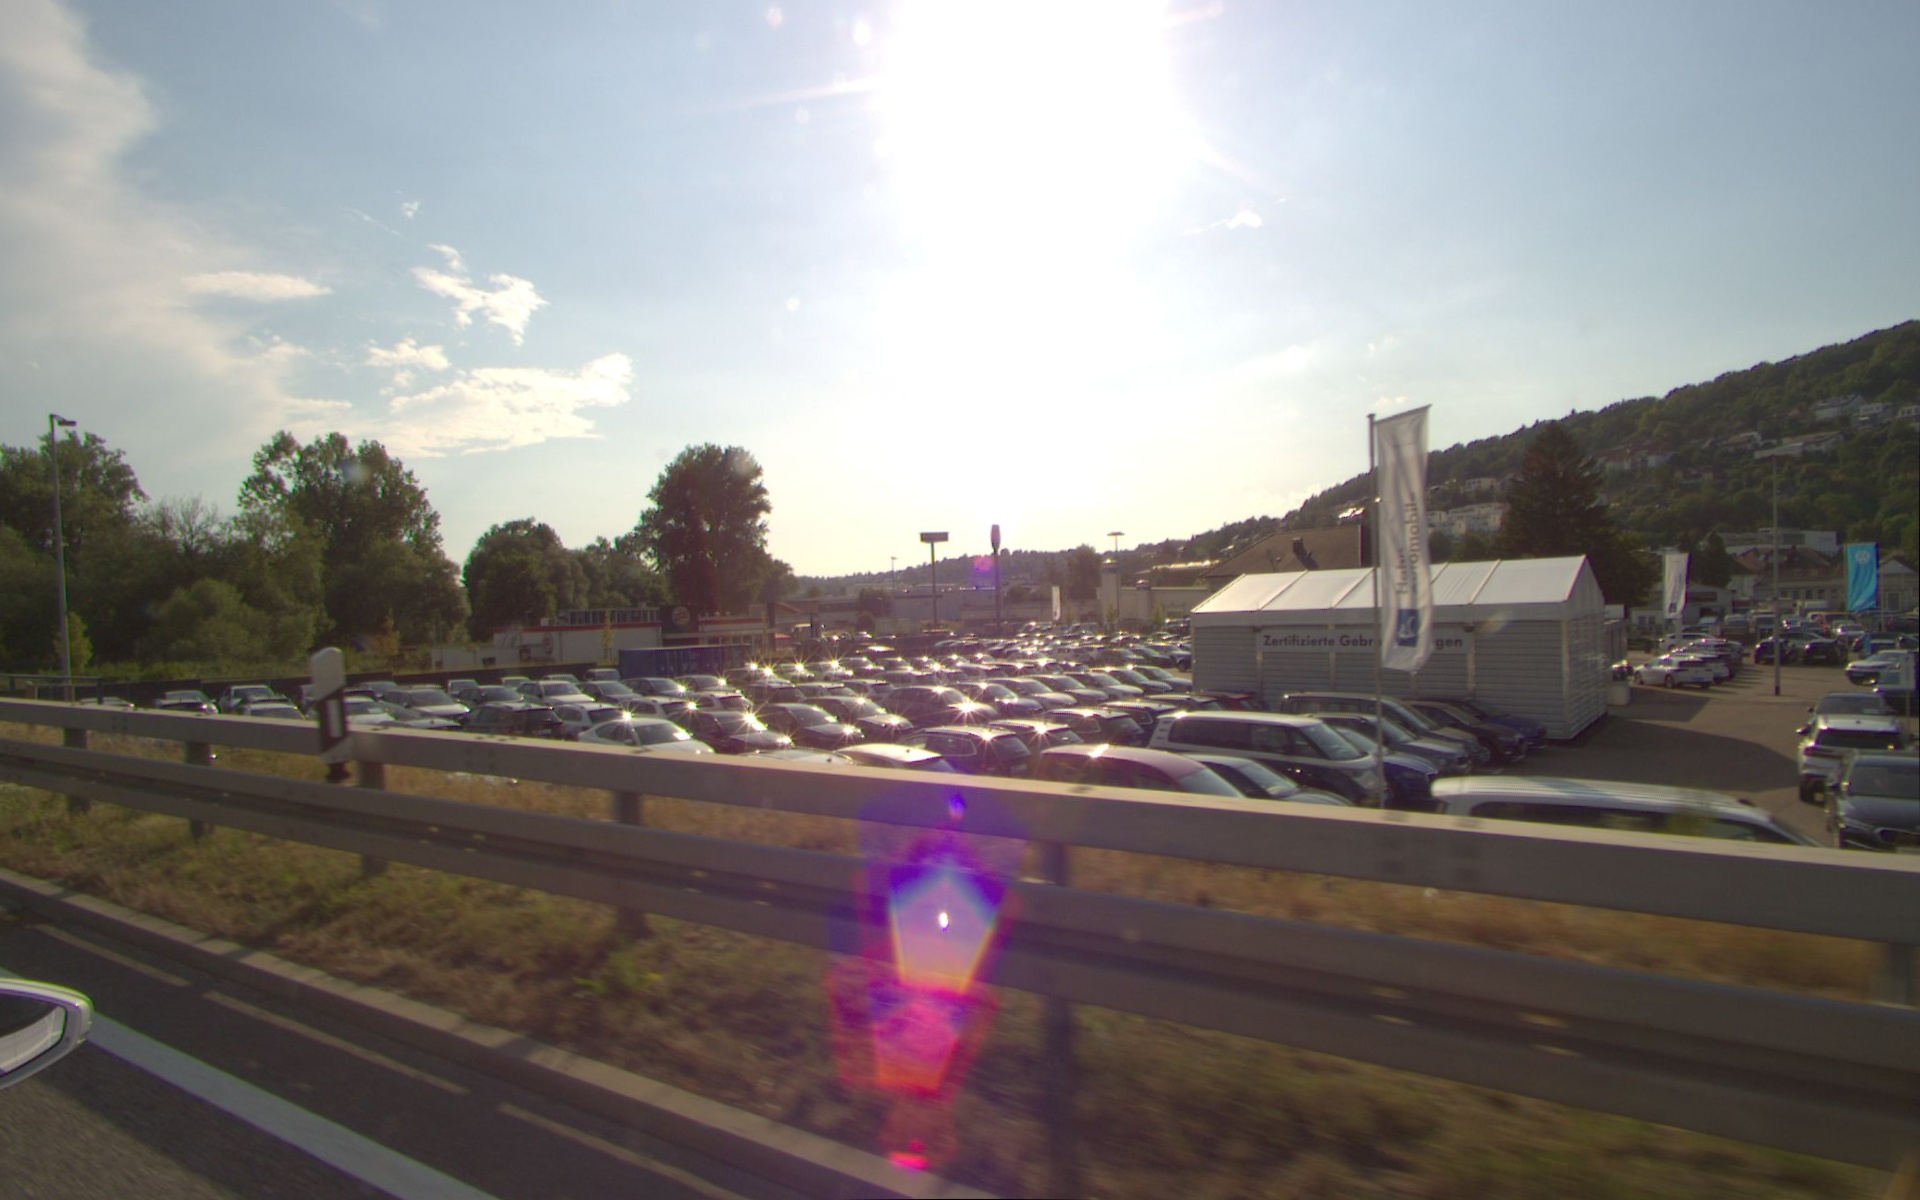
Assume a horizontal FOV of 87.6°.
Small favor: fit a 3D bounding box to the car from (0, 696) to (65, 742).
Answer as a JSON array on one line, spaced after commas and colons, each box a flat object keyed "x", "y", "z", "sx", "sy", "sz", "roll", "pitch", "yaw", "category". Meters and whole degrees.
[{"x": -36.277, "y": 4.552, "z": 38.749, "sx": 3.949, "sy": 1.483, "sz": 1.700, "roll": -2, "pitch": -2, "yaw": 37, "category": "car"}]

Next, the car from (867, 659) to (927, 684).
[{"x": -4.007, "y": 4.496, "z": 63.430, "sx": 1.694, "sy": 1.482, "sz": 3.964, "roll": 1, "pitch": -2, "yaw": -42, "category": "car"}]

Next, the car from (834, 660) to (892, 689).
[{"x": -6.015, "y": 4.562, "z": 61.667, "sx": 1.734, "sy": 1.597, "sz": 3.748, "roll": 1, "pitch": -2, "yaw": -41, "category": "car"}]

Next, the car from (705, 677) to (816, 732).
[{"x": -7.186, "y": 3.705, "z": 35.965, "sx": 3.950, "sy": 1.705, "sz": 1.769, "roll": -2, "pitch": -2, "yaw": 37, "category": "car"}]

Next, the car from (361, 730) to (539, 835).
[{"x": -10.661, "y": 3.718, "z": 20.878, "sx": 3.782, "sy": 1.700, "sz": 1.609, "roll": -2, "pitch": -2, "yaw": 32, "category": "car"}]

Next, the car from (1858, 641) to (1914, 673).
[{"x": 53.712, "y": 3.272, "z": 58.056, "sx": 3.957, "sy": 1.739, "sz": 1.983, "roll": 1, "pitch": -1, "yaw": -41, "category": "car"}]

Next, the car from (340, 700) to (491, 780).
[{"x": -14.178, "y": 3.570, "z": 26.042, "sx": 3.943, "sy": 1.705, "sz": 1.772, "roll": -2, "pitch": -2, "yaw": 32, "category": "car"}]

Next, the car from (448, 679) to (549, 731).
[{"x": -17.282, "y": 3.886, "z": 37.438, "sx": 3.949, "sy": 1.705, "sz": 1.769, "roll": -2, "pitch": -2, "yaw": 37, "category": "car"}]

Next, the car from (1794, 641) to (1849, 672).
[{"x": 51.809, "y": 3.353, "z": 60.189, "sx": 3.957, "sy": 1.739, "sz": 1.983, "roll": 1, "pitch": -1, "yaw": -41, "category": "car"}]

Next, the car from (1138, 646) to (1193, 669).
[{"x": 15.385, "y": 4.293, "z": 75.070, "sx": 1.734, "sy": 1.597, "sz": 3.748, "roll": 1, "pitch": -2, "yaw": -41, "category": "car"}]

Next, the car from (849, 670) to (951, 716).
[{"x": -2.473, "y": 3.759, "z": 40.980, "sx": 3.949, "sy": 1.705, "sz": 1.769, "roll": -2, "pitch": -2, "yaw": 37, "category": "car"}]

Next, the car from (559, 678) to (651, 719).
[{"x": -14.736, "y": 4.054, "z": 41.533, "sx": 3.949, "sy": 1.483, "sz": 1.700, "roll": -2, "pitch": -2, "yaw": 37, "category": "car"}]

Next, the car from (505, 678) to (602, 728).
[{"x": -16.037, "y": 4.000, "z": 39.438, "sx": 3.949, "sy": 1.705, "sz": 1.769, "roll": -2, "pitch": -2, "yaw": 37, "category": "car"}]

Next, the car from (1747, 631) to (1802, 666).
[{"x": 50.457, "y": 2.961, "z": 62.029, "sx": 3.957, "sy": 2.040, "sz": 1.983, "roll": 1, "pitch": -1, "yaw": -41, "category": "car"}]

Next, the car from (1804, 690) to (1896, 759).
[{"x": 24.149, "y": 3.301, "z": 27.118, "sx": 1.694, "sy": 1.483, "sz": 3.964, "roll": -2, "pitch": -2, "yaw": 44, "category": "car"}]

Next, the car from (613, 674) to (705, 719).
[{"x": -12.887, "y": 4.076, "z": 42.788, "sx": 3.949, "sy": 1.705, "sz": 1.769, "roll": -2, "pitch": -2, "yaw": 37, "category": "car"}]

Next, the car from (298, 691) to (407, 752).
[{"x": -20.435, "y": 4.026, "z": 33.642, "sx": 3.948, "sy": 1.705, "sz": 1.770, "roll": -2, "pitch": -2, "yaw": 36, "category": "car"}]

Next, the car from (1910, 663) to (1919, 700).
[{"x": 45.638, "y": 3.700, "z": 45.203, "sx": 3.923, "sy": 1.661, "sz": 1.843, "roll": 0, "pitch": -1, "yaw": -5, "category": "car"}]

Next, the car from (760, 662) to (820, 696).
[{"x": -9.970, "y": 4.591, "z": 58.611, "sx": 1.734, "sy": 1.817, "sz": 3.748, "roll": 1, "pitch": -2, "yaw": -41, "category": "car"}]

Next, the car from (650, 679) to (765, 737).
[{"x": -8.580, "y": 3.590, "z": 33.903, "sx": 3.951, "sy": 1.705, "sz": 1.768, "roll": -2, "pitch": -2, "yaw": 38, "category": "car"}]

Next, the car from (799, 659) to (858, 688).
[{"x": -7.858, "y": 4.339, "z": 59.757, "sx": 1.734, "sy": 1.597, "sz": 3.748, "roll": 1, "pitch": -2, "yaw": -41, "category": "car"}]

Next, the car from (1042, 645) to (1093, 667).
[{"x": 8.195, "y": 4.284, "z": 76.451, "sx": 1.732, "sy": 1.597, "sz": 3.752, "roll": 0, "pitch": -2, "yaw": -38, "category": "car"}]

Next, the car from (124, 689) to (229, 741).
[{"x": -26.615, "y": 3.868, "z": 33.971, "sx": 3.946, "sy": 1.483, "sz": 1.702, "roll": -2, "pitch": -2, "yaw": 34, "category": "car"}]

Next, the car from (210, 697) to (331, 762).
[{"x": -21.711, "y": 4.004, "z": 31.498, "sx": 3.944, "sy": 1.705, "sz": 1.771, "roll": -2, "pitch": -2, "yaw": 33, "category": "car"}]

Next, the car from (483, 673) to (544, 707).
[{"x": -22.540, "y": 4.508, "z": 50.462, "sx": 1.694, "sy": 1.482, "sz": 3.964, "roll": 1, "pitch": -2, "yaw": -42, "category": "car"}]

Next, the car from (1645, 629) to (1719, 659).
[{"x": 51.406, "y": 3.105, "z": 71.343, "sx": 1.981, "sy": 2.039, "sz": 3.962, "roll": 1, "pitch": -2, "yaw": -44, "category": "car"}]

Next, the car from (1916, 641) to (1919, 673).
[{"x": 55.174, "y": 3.176, "z": 56.120, "sx": 3.957, "sy": 1.739, "sz": 1.983, "roll": 1, "pitch": -1, "yaw": -41, "category": "car"}]

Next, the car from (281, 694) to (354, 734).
[{"x": -28.897, "y": 5.065, "z": 44.990, "sx": 3.960, "sy": 1.482, "sz": 1.942, "roll": -2, "pitch": -2, "yaw": 45, "category": "car"}]

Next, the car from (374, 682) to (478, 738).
[{"x": -18.967, "y": 3.841, "z": 35.531, "sx": 3.949, "sy": 1.705, "sz": 1.769, "roll": -2, "pitch": -2, "yaw": 37, "category": "car"}]

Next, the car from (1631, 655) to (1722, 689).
[{"x": 34.399, "y": 3.444, "z": 48.233, "sx": 1.770, "sy": 1.474, "sz": 4.001, "roll": -1, "pitch": -2, "yaw": 5, "category": "car"}]

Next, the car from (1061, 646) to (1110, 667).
[{"x": 9.804, "y": 4.391, "z": 78.411, "sx": 1.732, "sy": 1.597, "sz": 3.752, "roll": 0, "pitch": -2, "yaw": -38, "category": "car"}]

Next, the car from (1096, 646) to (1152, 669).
[{"x": 11.786, "y": 4.098, "z": 72.169, "sx": 1.734, "sy": 1.597, "sz": 3.748, "roll": 1, "pitch": -2, "yaw": -41, "category": "car"}]

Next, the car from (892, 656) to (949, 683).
[{"x": -2.583, "y": 4.468, "z": 64.770, "sx": 1.734, "sy": 1.597, "sz": 3.748, "roll": 1, "pitch": -2, "yaw": -41, "category": "car"}]

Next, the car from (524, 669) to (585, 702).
[{"x": -21.052, "y": 4.400, "z": 51.950, "sx": 1.694, "sy": 1.482, "sz": 3.964, "roll": 1, "pitch": -2, "yaw": -42, "category": "car"}]

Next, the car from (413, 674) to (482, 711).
[{"x": -24.529, "y": 4.393, "z": 47.898, "sx": 3.959, "sy": 1.521, "sz": 1.796, "roll": -2, "pitch": -2, "yaw": 44, "category": "car"}]

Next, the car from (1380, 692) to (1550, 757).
[{"x": 14.076, "y": 3.422, "z": 27.992, "sx": 3.950, "sy": 1.482, "sz": 1.946, "roll": -2, "pitch": -2, "yaw": 38, "category": "car"}]

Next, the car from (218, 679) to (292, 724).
[{"x": -30.687, "y": 4.373, "z": 43.554, "sx": 4.201, "sy": 1.663, "sz": 1.942, "roll": -2, "pitch": -2, "yaw": 45, "category": "car"}]

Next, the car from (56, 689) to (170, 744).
[{"x": -27.150, "y": 3.690, "z": 32.086, "sx": 3.943, "sy": 1.483, "sz": 1.703, "roll": -2, "pitch": -2, "yaw": 32, "category": "car"}]

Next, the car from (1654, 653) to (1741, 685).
[{"x": 37.459, "y": 3.464, "z": 50.981, "sx": 1.770, "sy": 1.474, "sz": 4.001, "roll": -1, "pitch": -2, "yaw": 5, "category": "car"}]

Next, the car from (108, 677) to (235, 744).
[{"x": -23.336, "y": 3.212, "z": 29.607, "sx": 3.944, "sy": 1.705, "sz": 1.771, "roll": -2, "pitch": -2, "yaw": 33, "category": "car"}]
